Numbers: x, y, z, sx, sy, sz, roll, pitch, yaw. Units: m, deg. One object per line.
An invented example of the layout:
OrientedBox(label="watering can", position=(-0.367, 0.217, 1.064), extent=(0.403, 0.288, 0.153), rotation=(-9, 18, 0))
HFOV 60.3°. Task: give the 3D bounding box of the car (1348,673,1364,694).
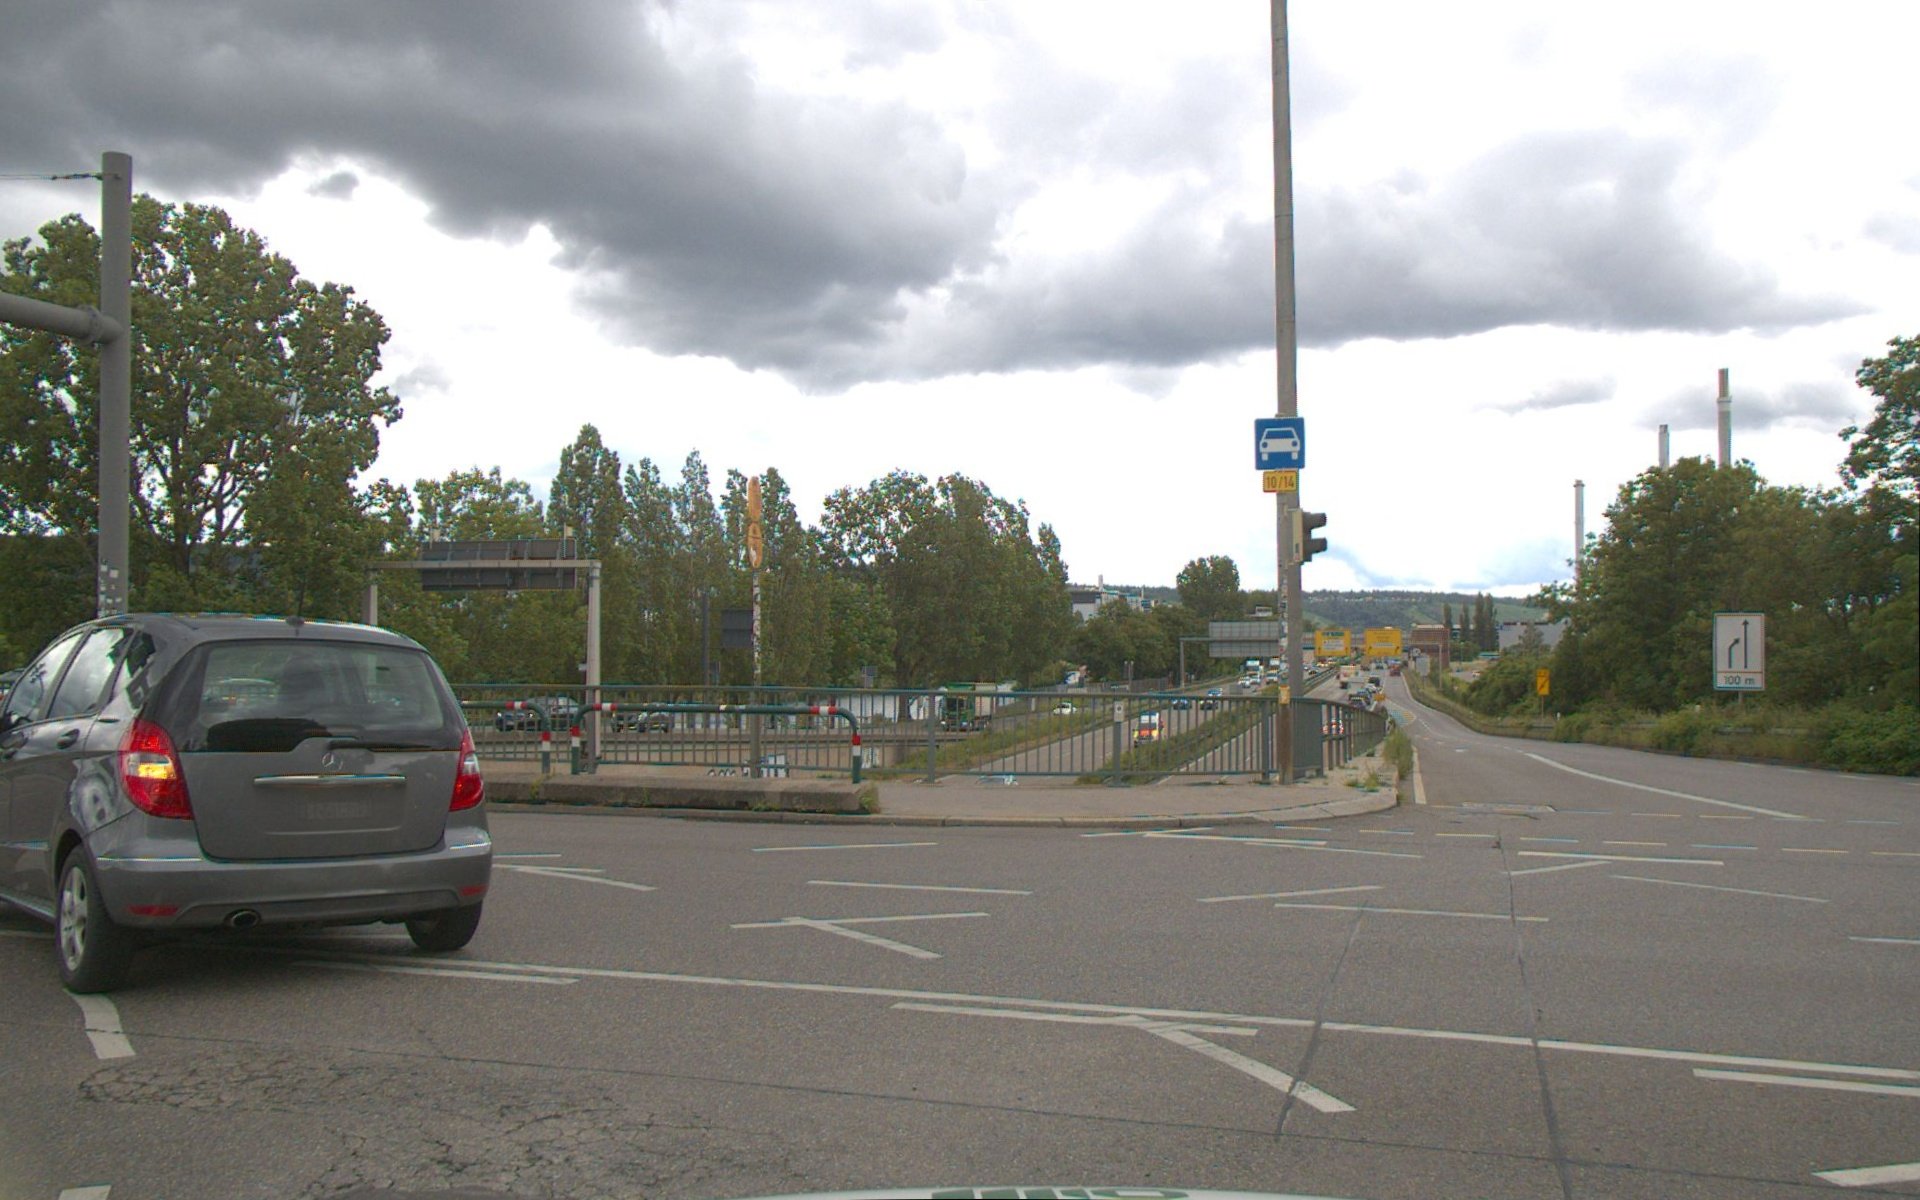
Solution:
OrientedBox(label="car", position=(52.402, 11.024, 218.990), extent=(1.951, 2.668, 5.402), rotation=(-2, -4, 13))

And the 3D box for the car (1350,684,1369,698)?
OrientedBox(label="car", position=(55.895, 12.716, 231.372), extent=(2.477, 1.935, 4.885), rotation=(-2, -4, 13))

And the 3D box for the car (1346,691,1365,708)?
OrientedBox(label="car", position=(44.242, 11.131, 185.053), extent=(1.951, 1.767, 3.999), rotation=(-2, -4, 13))

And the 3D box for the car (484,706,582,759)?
OrientedBox(label="car", position=(-16.886, 5.219, 65.602), extent=(1.951, 1.646, 4.003), rotation=(0, 1, 17))

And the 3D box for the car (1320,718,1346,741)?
OrientedBox(label="car", position=(29.786, 10.317, 132.055), extent=(1.951, 1.767, 3.999), rotation=(-2, -4, 13))

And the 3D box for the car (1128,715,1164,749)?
OrientedBox(label="car", position=(14.126, 9.971, 125.112), extent=(1.951, 2.412, 4.592), rotation=(-2, -4, 15))

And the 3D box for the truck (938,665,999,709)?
OrientedBox(label="truck", position=(0.820, 7.447, 143.148), extent=(2.715, 3.571, 9.262), rotation=(0, -2, 17))

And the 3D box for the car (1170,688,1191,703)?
OrientedBox(label="car", position=(25.922, 11.213, 194.250), extent=(1.951, 1.737, 4.081), rotation=(-2, -4, 15))

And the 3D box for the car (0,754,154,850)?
OrientedBox(label="car", position=(-25.380, 5.635, 46.719), extent=(2.159, 2.049, 4.548), rotation=(0, 1, 16))

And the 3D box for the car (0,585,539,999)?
OrientedBox(label="car", position=(-3.831, 0.849, 8.345), extent=(1.736, 1.578, 3.811), rotation=(3, -5, -42))

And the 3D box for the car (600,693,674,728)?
OrientedBox(label="car", position=(-15.672, 5.377, 80.448), extent=(1.951, 1.647, 4.001), rotation=(-2, -4, 16))

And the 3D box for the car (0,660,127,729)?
OrientedBox(label="car", position=(-23.436, 2.418, 41.621), extent=(1.951, 1.648, 4.344), rotation=(-2, -4, 17))

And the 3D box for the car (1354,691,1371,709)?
OrientedBox(label="car", position=(49.432, 12.282, 203.203), extent=(1.951, 2.049, 4.002), rotation=(-2, -4, 13))
